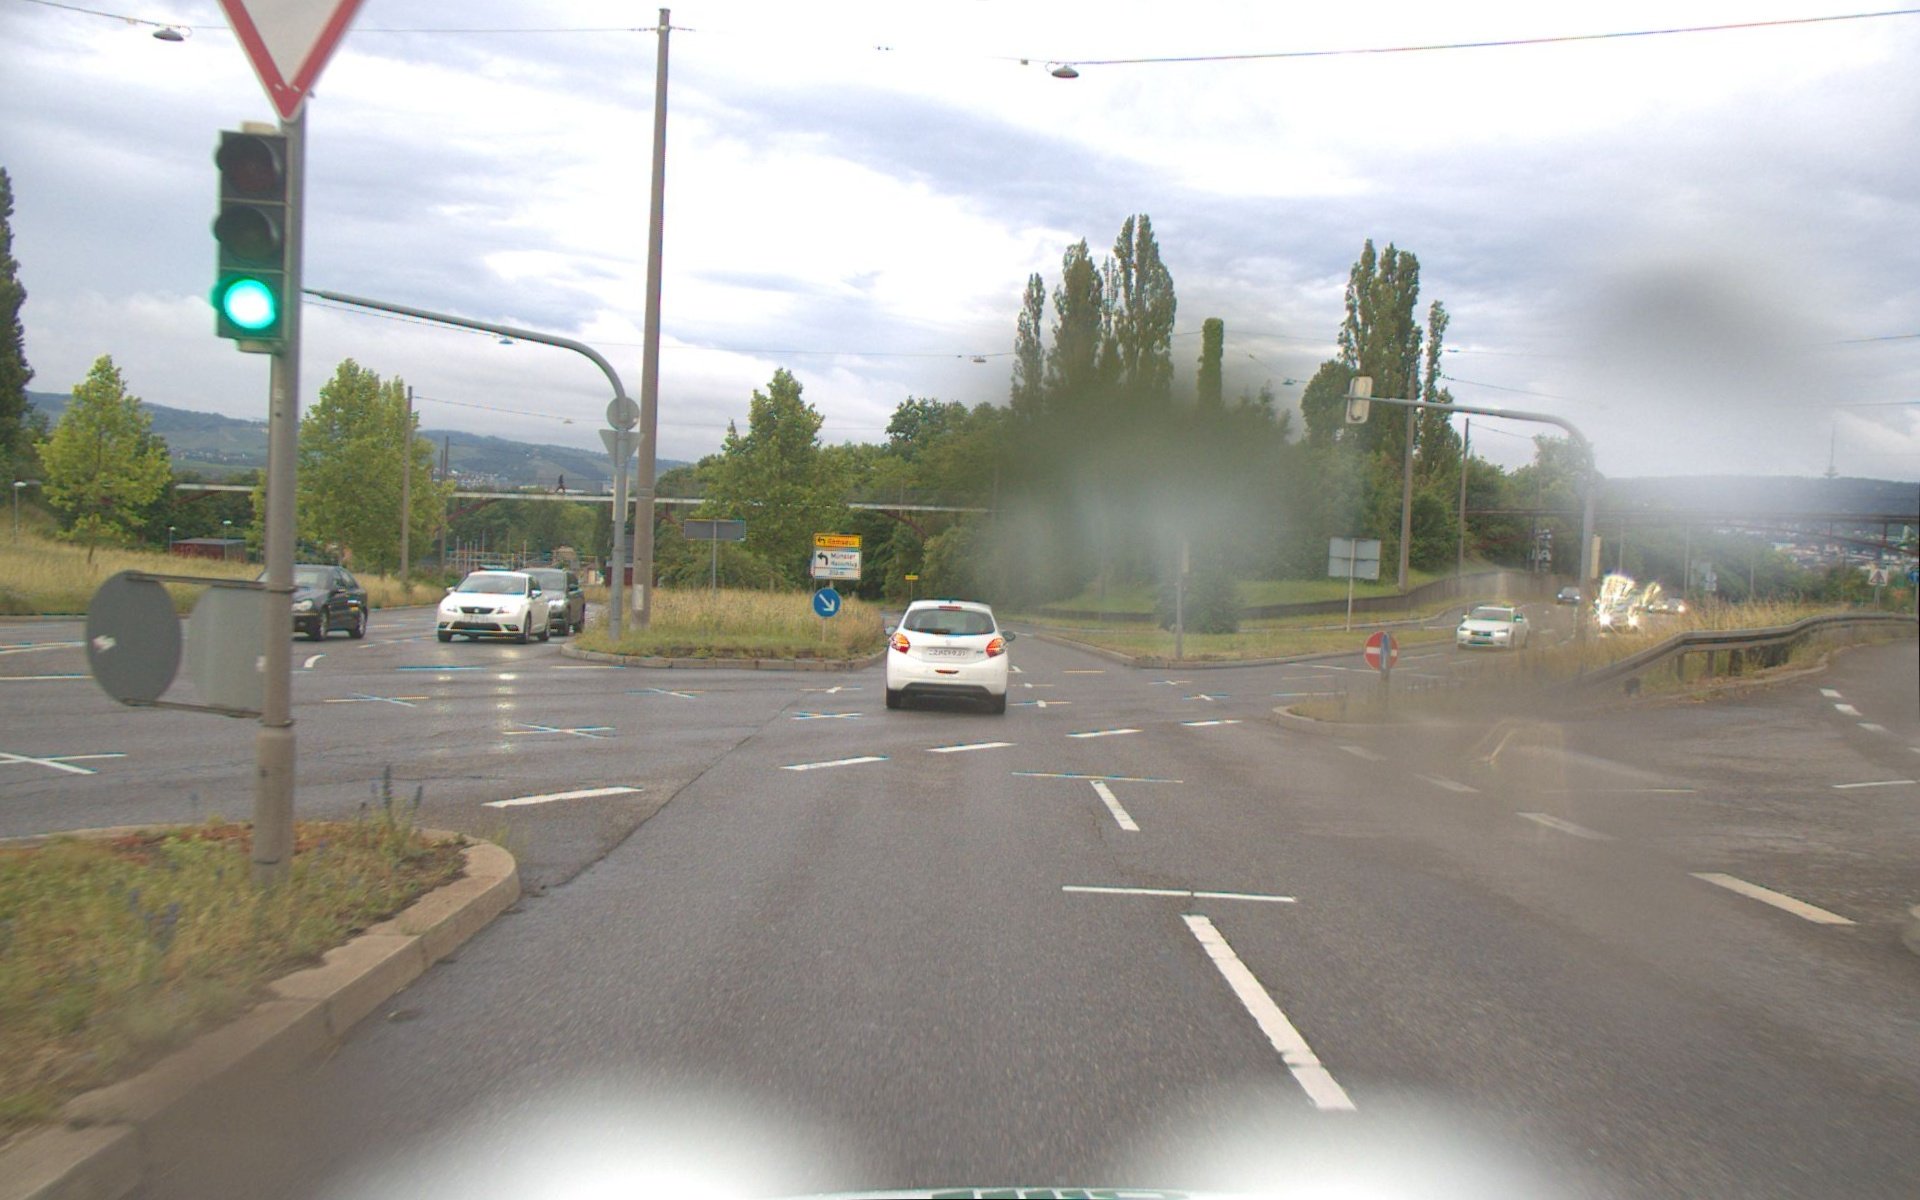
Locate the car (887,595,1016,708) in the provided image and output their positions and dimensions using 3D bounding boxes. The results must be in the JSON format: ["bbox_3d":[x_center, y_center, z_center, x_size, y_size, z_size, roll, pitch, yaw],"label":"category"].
[{"bbox_3d":[-0.128,0.701,23.666,1.674,1.465,3.690,1,-1,0],"label":"car"}]

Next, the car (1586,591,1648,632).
[{"bbox_3d":[30.920,0.516,77.768,1.958,1.645,4.362,5,4,31],"label":"car"}]

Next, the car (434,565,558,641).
[{"bbox_3d":[-9.490,0.082,34.093,1.704,1.397,3.995,3,-1,-6],"label":"car"}]

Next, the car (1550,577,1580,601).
[{"bbox_3d":[48.391,-0.885,132.230,1.841,1.682,4.124,4,3,24],"label":"car"}]

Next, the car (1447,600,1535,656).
[{"bbox_3d":[18.365,0.935,57.089,1.958,1.645,3.991,5,4,31],"label":"car"}]

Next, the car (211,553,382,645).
[{"bbox_3d":[-12.538,0.023,31.524,1.858,1.564,3.995,3,-1,-5],"label":"car"}]

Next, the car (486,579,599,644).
[{"bbox_3d":[-10.182,0.241,40.629,1.857,1.347,3.999,3,2,-2],"label":"car"}]

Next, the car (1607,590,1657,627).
[{"bbox_3d":[35.918,0.410,88.509,1.952,1.645,4.376,4,3,16],"label":"car"}]
